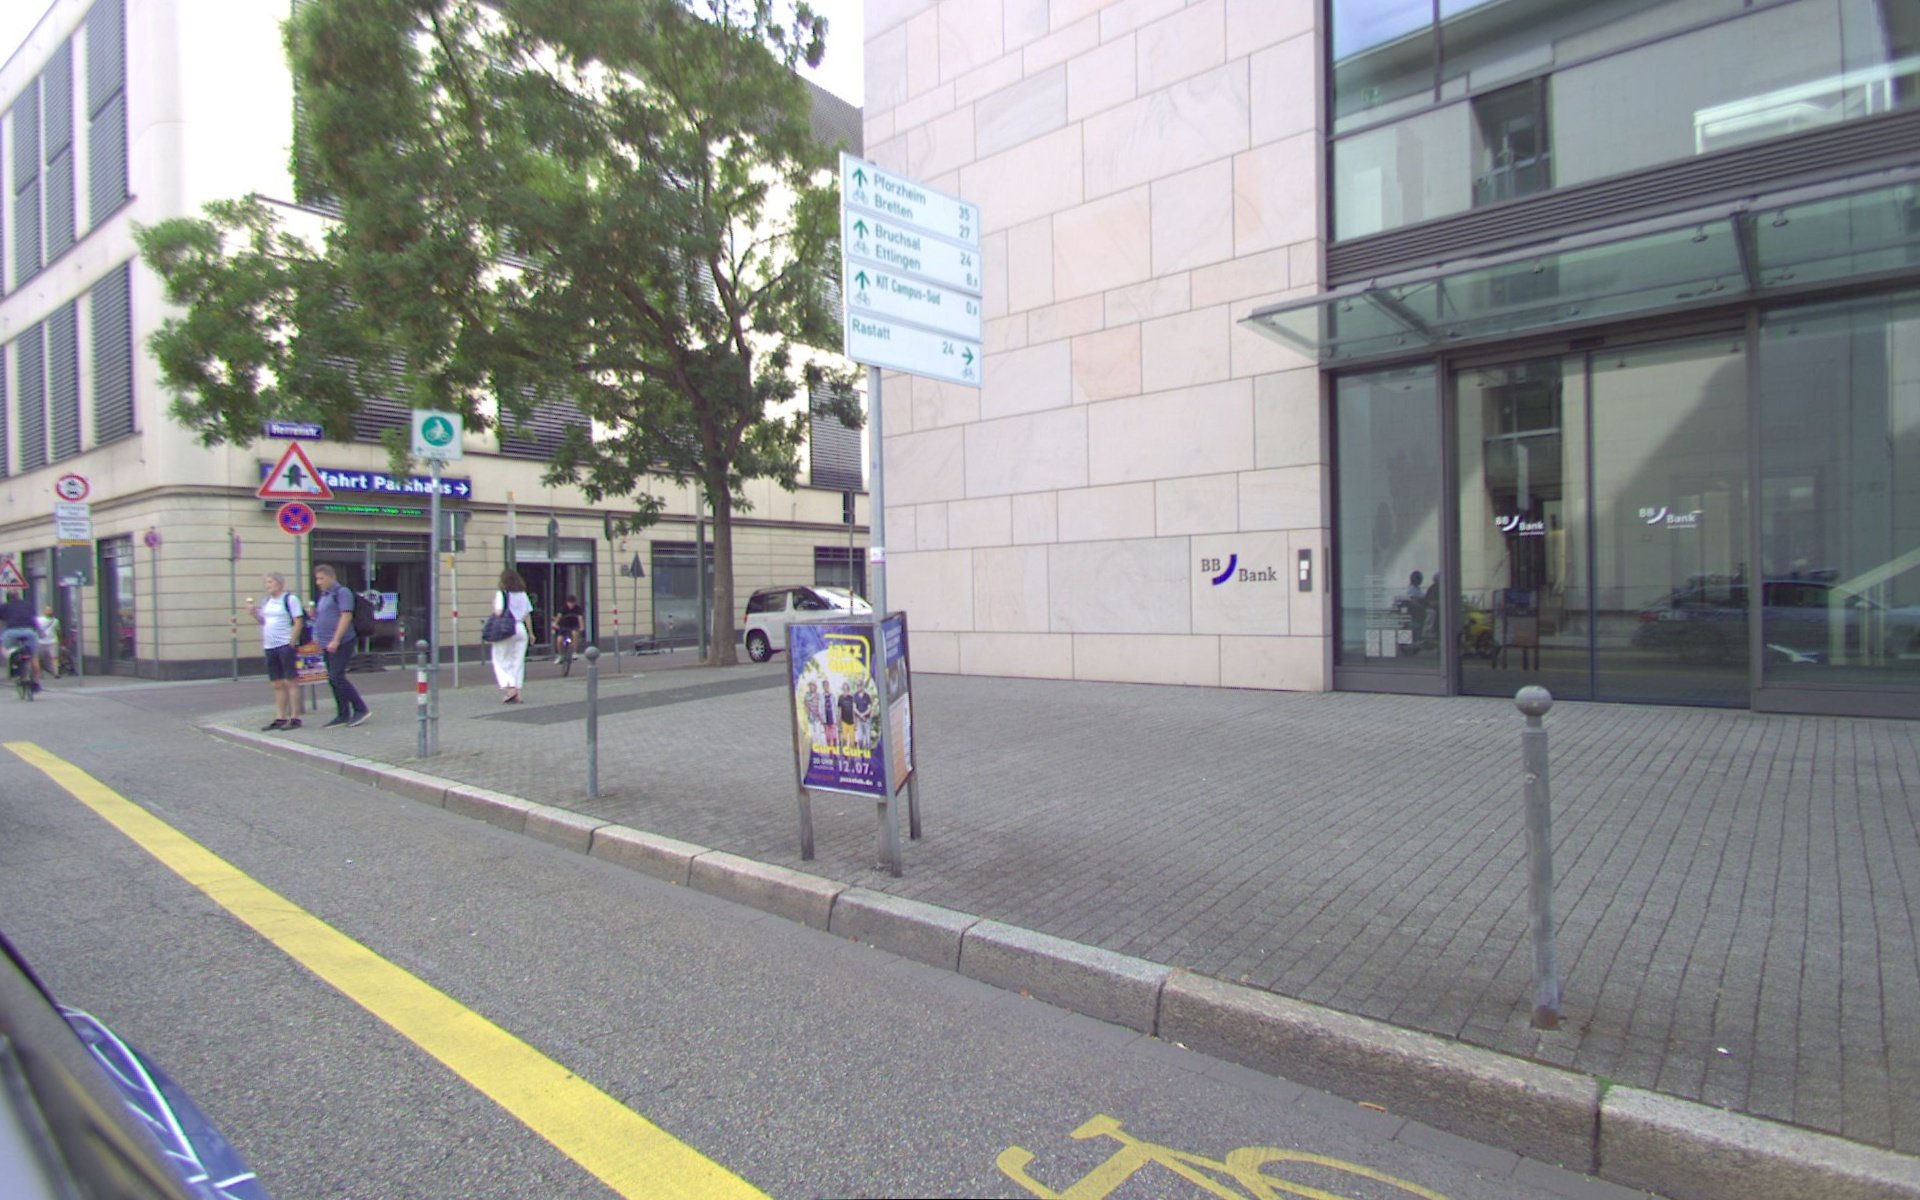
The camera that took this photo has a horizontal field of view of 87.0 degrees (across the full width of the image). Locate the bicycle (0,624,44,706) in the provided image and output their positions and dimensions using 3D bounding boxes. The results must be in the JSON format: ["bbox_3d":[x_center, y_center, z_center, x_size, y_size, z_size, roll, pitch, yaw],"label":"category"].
[{"bbox_3d":[-15.413,1.030,16.486,0.639,1.250,1.955,3,-3,-43],"label":"bicycle"}]

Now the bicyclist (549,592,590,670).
[{"bbox_3d":[-8.508,0.669,22.064,0.613,1.631,0.645,-3,1,-9],"label":"bicyclist"}]

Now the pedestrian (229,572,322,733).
[{"bbox_3d":[-7.824,0.582,11.577,0.651,1.778,0.637,-1,0,29],"label":"pedestrian"}]

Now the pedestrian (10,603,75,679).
[{"bbox_3d":[-22.785,1.005,25.135,1.058,1.778,0.882,-1,3,35],"label":"pedestrian"}]

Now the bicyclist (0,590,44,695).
[{"bbox_3d":[-15.410,0.680,16.489,0.635,1.666,0.940,3,-3,-43],"label":"bicyclist"}]

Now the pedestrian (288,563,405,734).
[{"bbox_3d":[-6.931,0.527,11.446,0.753,1.827,0.738,-2,3,29],"label":"pedestrian"}]

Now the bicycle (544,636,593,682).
[{"bbox_3d":[-8.466,1.266,21.940,0.592,0.840,1.728,-5,1,-9],"label":"bicycle"}]

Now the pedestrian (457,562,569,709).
[{"bbox_3d":[-5.600,0.413,12.685,0.909,1.721,0.868,-1,4,40],"label":"pedestrian"}]

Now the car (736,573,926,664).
[{"bbox_3d":[-2.910,0.448,22.490,3.957,1.706,1.876,-5,-3,37],"label":"car"}]
